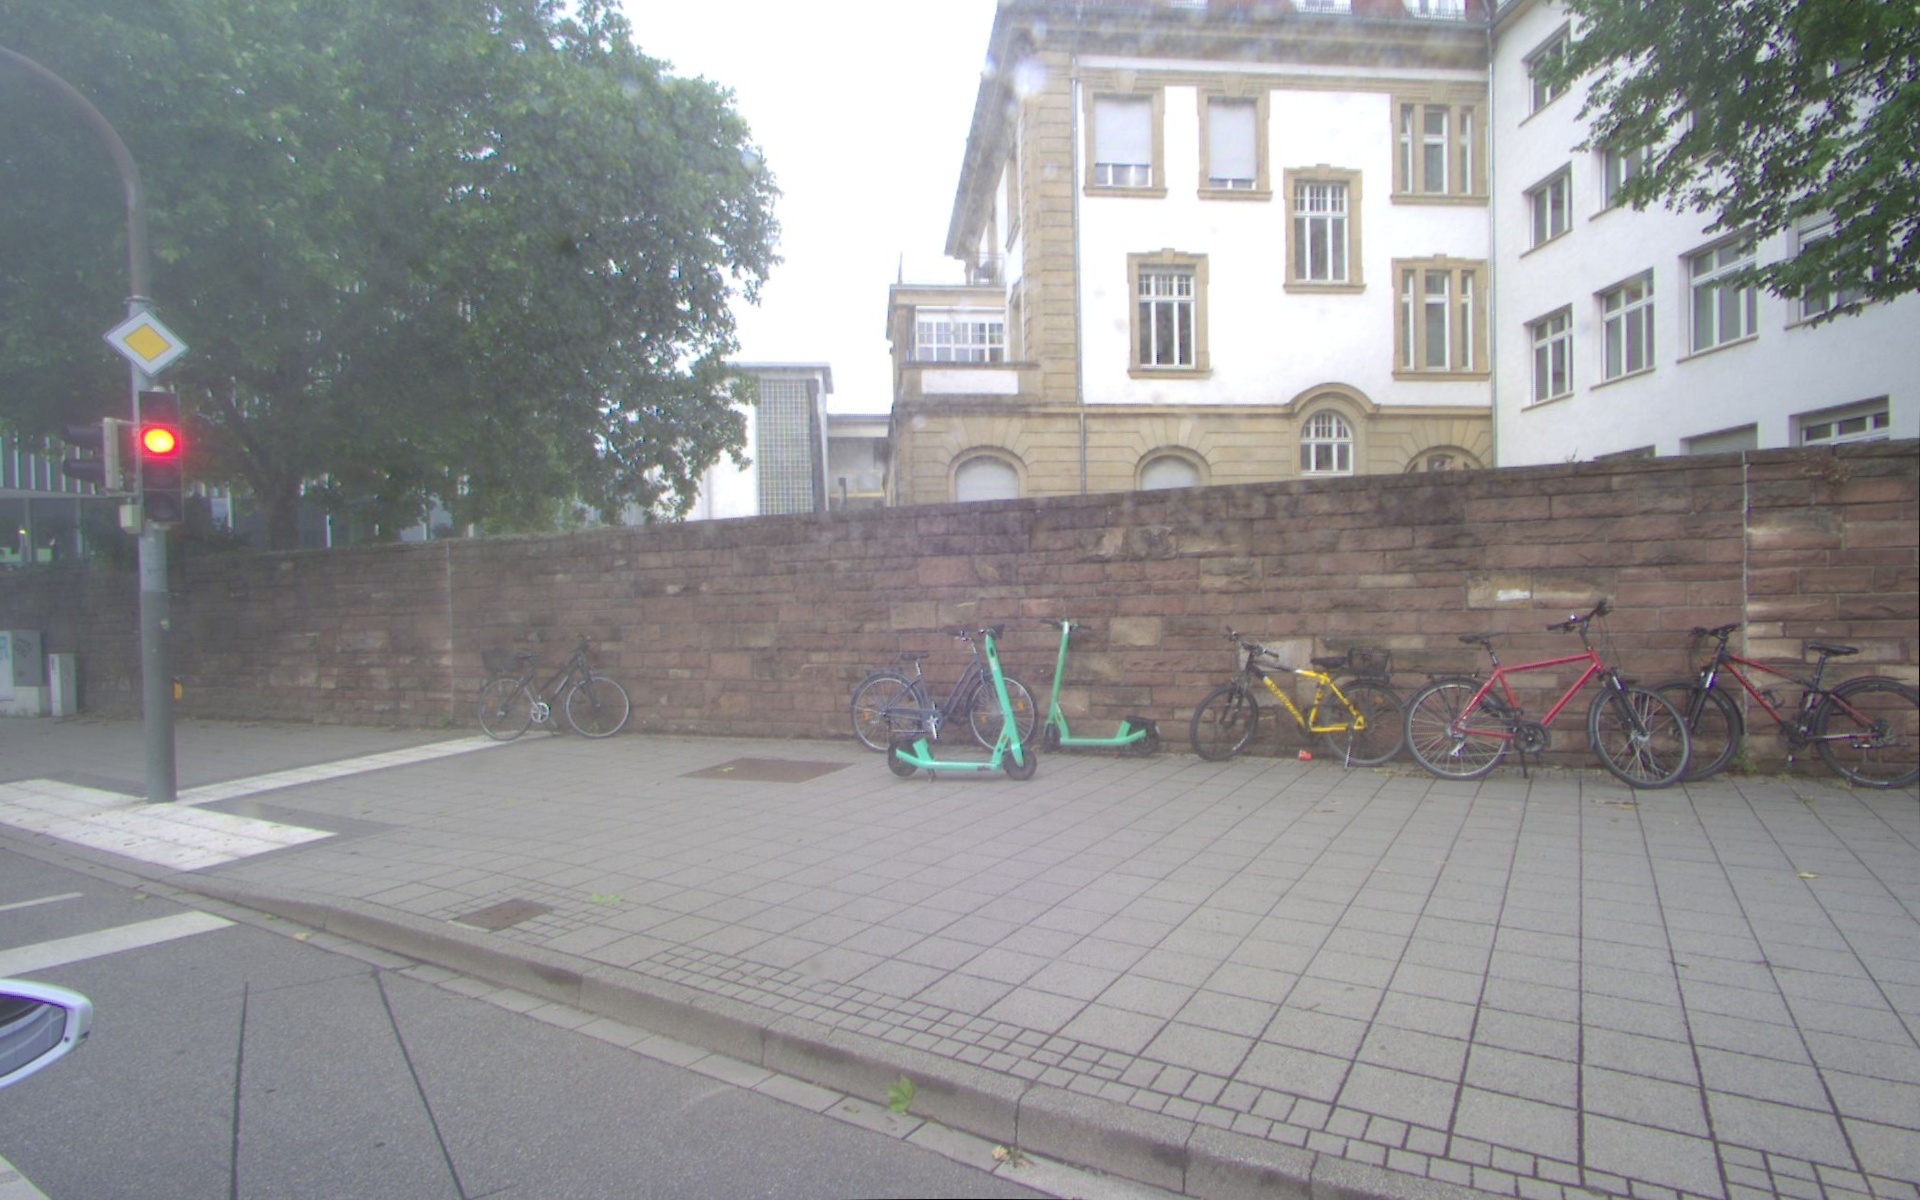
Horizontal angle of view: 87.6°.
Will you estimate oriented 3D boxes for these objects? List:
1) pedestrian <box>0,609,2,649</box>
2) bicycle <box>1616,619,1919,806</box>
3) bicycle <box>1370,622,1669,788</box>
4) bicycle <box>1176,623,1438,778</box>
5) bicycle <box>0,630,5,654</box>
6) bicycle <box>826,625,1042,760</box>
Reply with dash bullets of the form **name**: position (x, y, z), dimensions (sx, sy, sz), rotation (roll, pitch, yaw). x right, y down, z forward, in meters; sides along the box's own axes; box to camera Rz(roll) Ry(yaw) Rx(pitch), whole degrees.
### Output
- **pedestrian**: position (-51.513, 1.527, 52.804), dimensions (1.167, 2.088, 1.130), rotation (1, -1, -28)
- **bicycle**: position (5.449, 0.712, 6.543), dimensions (1.907, 1.158, 0.339), rotation (-1, -1, 17)
- **bicycle**: position (3.981, 0.739, 7.188), dimensions (1.904, 1.158, 0.386), rotation (0, -1, 1)
- **bicycle**: position (2.679, 0.767, 7.888), dimensions (1.905, 1.158, 0.386), rotation (0, -1, 12)
- **bicycle**: position (-41.530, 1.815, 42.046), dimensions (0.766, 1.019, 2.192), rotation (-2, 0, -1)
- **bicycle**: position (-0.237, 0.814, 9.005), dimensions (1.905, 1.158, 0.386), rotation (0, -1, 12)
